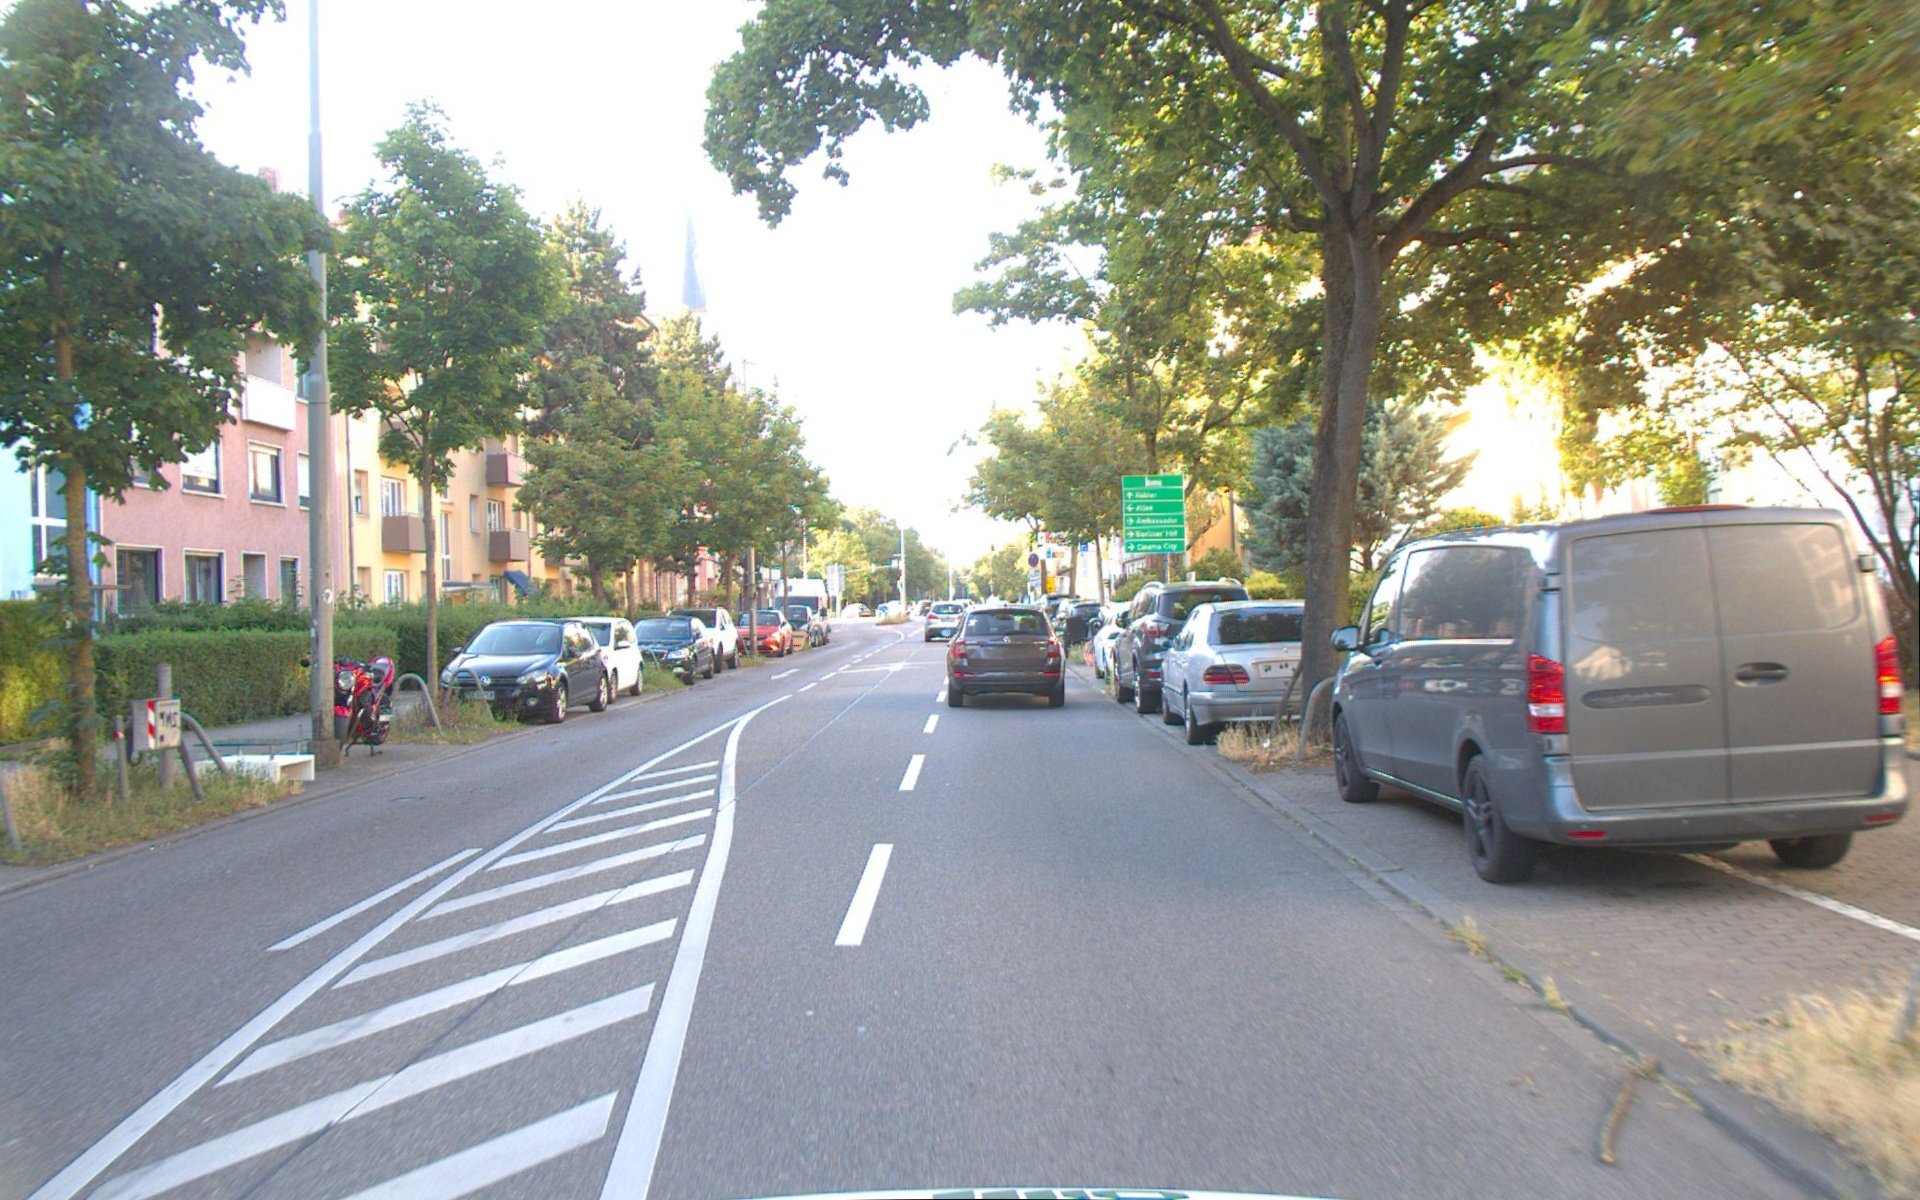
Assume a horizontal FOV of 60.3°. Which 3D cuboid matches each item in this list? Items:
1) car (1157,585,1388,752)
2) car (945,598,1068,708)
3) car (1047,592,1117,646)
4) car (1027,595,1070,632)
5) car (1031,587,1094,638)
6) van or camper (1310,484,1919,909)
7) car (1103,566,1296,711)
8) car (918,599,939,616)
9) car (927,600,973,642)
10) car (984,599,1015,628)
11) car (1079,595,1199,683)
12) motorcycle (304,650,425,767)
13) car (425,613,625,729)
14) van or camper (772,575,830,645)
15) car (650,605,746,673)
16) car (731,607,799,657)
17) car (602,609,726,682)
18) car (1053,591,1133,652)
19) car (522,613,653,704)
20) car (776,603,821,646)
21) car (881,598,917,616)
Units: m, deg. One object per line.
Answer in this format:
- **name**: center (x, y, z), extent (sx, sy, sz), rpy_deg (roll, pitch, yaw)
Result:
- **car**: center (3.265, 0.649, 18.201), extent (1.747, 1.530, 4.832), rpy_deg (-2, 0, 2)
- **car**: center (0.666, 0.723, 24.714), extent (1.672, 1.483, 4.159), rpy_deg (0, 0, 1)
- **car**: center (3.749, 0.565, 51.315), extent (1.682, 1.498, 4.430), rpy_deg (-3, 0, -1)
- **car**: center (4.063, 0.587, 76.165), extent (1.817, 1.538, 4.836), rpy_deg (-4, 0, 2)
- **car**: center (3.663, 0.437, 59.870), extent (1.908, 1.684, 4.795), rpy_deg (-2, 0, 0)
- **van or camper**: center (3.679, 0.378, 10.162), extent (1.952, 1.874, 5.260), rpy_deg (-2, 1, 1)
- **car**: center (3.239, 0.486, 23.334), extent (1.878, 1.711, 4.706), rpy_deg (-4, 0, -1)
- **car**: center (-2.967, 0.710, 155.805), extent (1.585, 1.520, 3.350), rpy_deg (-2, 0, 6)
- **car**: center (-0.365, 0.776, 63.873), extent (1.672, 1.536, 4.309), rpy_deg (-1, 0, 1)
- **car**: center (2.143, 0.721, 89.852), extent (1.616, 1.510, 4.239), rpy_deg (-1, 0, 1)
- **car**: center (3.239, 0.670, 30.661), extent (1.726, 1.426, 4.334), rpy_deg (-3, 0, 0)
- **motorcycle**: center (-6.578, 1.163, 18.378), extent (0.626, 1.156, 2.172), rpy_deg (0, 0, -2)
- **car**: center (-6.462, 0.995, 25.072), extent (1.799, 1.544, 4.316), rpy_deg (-1, 0, 1)
- **van or camper**: center (-6.454, 0.398, 67.796), extent (1.994, 2.710, 6.013), rpy_deg (0, 0, -2)
- **car**: center (-6.666, 0.952, 42.471), extent (1.740, 1.616, 4.186), rpy_deg (-1, 0, 1)
- **car**: center (-6.265, 1.004, 53.432), extent (1.682, 1.477, 3.923), rpy_deg (-1, 0, 0)
- **car**: center (-6.627, 0.977, 37.476), extent (1.953, 1.473, 4.458), rpy_deg (-2, 0, 0)
- **car**: center (3.532, 0.541, 44.511), extent (1.734, 1.474, 4.484), rpy_deg (-3, 0, 0)
- **car**: center (-6.735, 1.016, 30.207), extent (1.558, 1.518, 3.641), rpy_deg (-1, -1, 0)
- **car**: center (-6.116, 0.917, 62.845), extent (1.375, 1.576, 2.762), rpy_deg (0, 0, 1)
- **car**: center (-6.088, 0.682, 165.060), extent (1.971, 1.699, 3.963), rpy_deg (-2, 0, -28)
